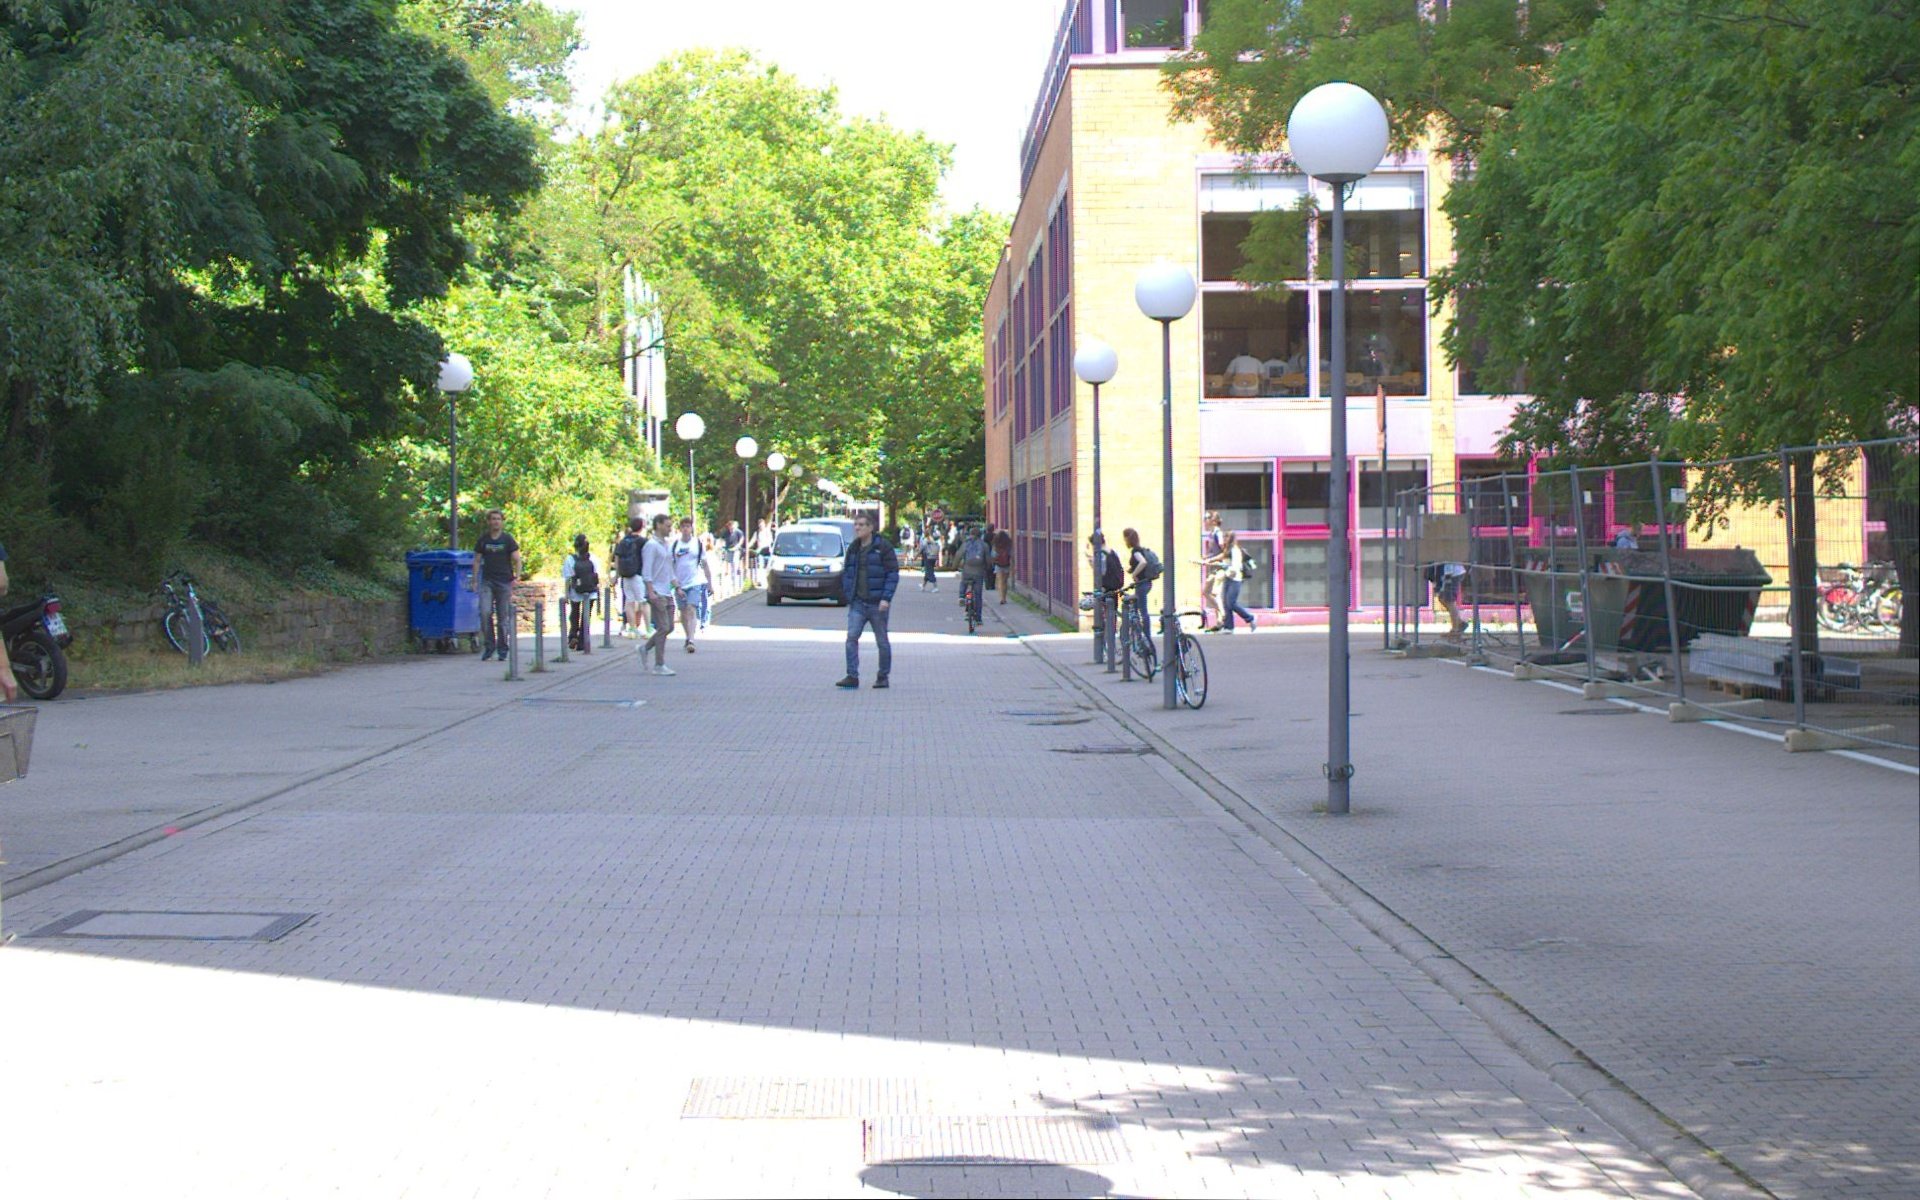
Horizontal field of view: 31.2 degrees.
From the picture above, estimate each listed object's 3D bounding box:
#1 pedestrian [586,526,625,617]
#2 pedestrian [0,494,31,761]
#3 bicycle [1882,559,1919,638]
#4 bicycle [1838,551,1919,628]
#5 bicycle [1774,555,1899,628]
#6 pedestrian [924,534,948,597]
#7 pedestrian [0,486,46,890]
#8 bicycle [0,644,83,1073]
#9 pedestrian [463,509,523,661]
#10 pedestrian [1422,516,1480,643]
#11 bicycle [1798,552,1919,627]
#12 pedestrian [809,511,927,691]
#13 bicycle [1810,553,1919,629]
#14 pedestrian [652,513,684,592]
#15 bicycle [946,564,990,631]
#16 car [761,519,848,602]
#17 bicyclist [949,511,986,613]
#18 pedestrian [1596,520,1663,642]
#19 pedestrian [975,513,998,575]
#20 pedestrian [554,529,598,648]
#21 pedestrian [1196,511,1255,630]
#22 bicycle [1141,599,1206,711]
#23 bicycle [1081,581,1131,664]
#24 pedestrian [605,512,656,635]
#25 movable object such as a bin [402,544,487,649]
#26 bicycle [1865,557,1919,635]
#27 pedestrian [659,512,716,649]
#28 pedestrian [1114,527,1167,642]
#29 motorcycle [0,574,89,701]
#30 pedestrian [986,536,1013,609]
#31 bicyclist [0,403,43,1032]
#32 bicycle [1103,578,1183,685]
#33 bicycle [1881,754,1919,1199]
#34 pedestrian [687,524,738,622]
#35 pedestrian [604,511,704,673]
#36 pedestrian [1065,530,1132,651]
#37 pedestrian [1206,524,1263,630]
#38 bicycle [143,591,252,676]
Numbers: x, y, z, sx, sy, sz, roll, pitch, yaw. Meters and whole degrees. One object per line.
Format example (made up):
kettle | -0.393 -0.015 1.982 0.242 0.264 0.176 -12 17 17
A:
pedestrian | -6.357 -0.508 61.709 0.682 1.615 0.979 1 0 -5
pedestrian | -6.527 0.164 22.461 0.684 1.718 0.904 1 1 -3
bicycle | 14.030 -0.007 48.872 1.694 1.106 0.474 1 1 3
bicycle | 13.923 -0.149 50.654 1.809 1.106 0.524 1 1 -1
bicycle | 13.855 -0.141 54.347 1.809 1.106 0.524 1 1 -2
pedestrian | -0.651 -0.932 92.515 0.586 1.667 0.817 -1 0 1
pedestrian | -4.390 0.353 14.501 0.767 1.674 0.907 0 1 -34
bicycle | -2.999 0.714 9.402 0.771 1.146 2.108 -1 0 -4
pedestrian | -5.829 -0.189 42.943 0.682 1.866 1.121 1 0 -5
pedestrian | 7.007 -0.297 49.088 0.767 1.788 0.588 -1 0 7
bicycle | 13.772 -0.156 52.478 1.809 1.106 0.524 1 1 -3
pedestrian | -0.964 0.001 36.303 0.886 1.851 1.031 1 1 21
bicycle | 13.711 -0.131 51.509 1.809 1.106 0.523 1 1 3
pedestrian | -6.870 -1.118 81.012 0.682 1.838 0.783 1 0 -1
bicycle | 0.132 -0.051 57.907 0.587 1.080 1.908 0 1 -4
car | -3.398 -0.901 75.853 1.790 1.755 4.482 0 1 -1
bicyclist | 0.125 -0.639 57.983 0.587 1.710 0.665 0 1 -4
pedestrian | 9.600 -0.261 49.304 0.902 1.722 0.684 -1 -1 10
pedestrian | 0.722 -1.526 93.481 0.586 1.667 0.817 -1 0 1
pedestrian | -5.270 -0.158 47.150 0.569 1.605 0.918 1 0 -8
pedestrian | 4.145 -0.464 53.664 0.825 1.838 0.685 1 0 -3
bicycle | 1.912 0.479 30.929 0.395 0.932 1.732 -2 1 -1
bicycle | 1.783 0.265 42.241 0.450 0.958 1.740 -3 1 -1
pedestrian | -4.969 -0.401 51.900 0.682 1.838 0.783 1 0 -1
movable object such as a bin | -6.794 -0.055 45.347 0.709 1.332 1.239 3 1 9
bicycle | 14.140 -0.053 49.995 1.809 1.106 0.523 1 1 3
pedestrian | -3.801 -0.273 47.901 0.724 1.875 1.083 1 0 -8
pedestrian | 2.644 -0.229 50.395 0.697 1.667 0.588 -1 0 7
motorcycle | -8.462 0.307 30.254 2.024 1.043 0.473 3 2 42
pedestrian | 0.913 -0.636 79.308 0.586 1.667 0.699 -1 0 1
bicyclist | -3.007 0.321 9.411 0.771 1.710 0.911 -1 0 -4
bicycle | 1.955 0.324 36.906 0.708 1.089 1.749 0 1 -1
bicycle | 2.294 0.865 6.531 0.537 1.036 1.859 -1 1 -1
pedestrian | -3.982 -0.433 55.328 0.740 1.537 0.889 2 -1 -2
pedestrian | -3.540 -0.096 39.689 0.783 1.839 1.118 1 1 -25
pedestrian | 1.898 -0.130 47.010 0.852 1.645 0.588 1 0 7
pedestrian | 4.227 -0.358 52.964 0.780 1.615 0.685 1 0 -3
bicycle | -8.364 0.366 37.744 0.421 0.907 1.739 0 -1 14
